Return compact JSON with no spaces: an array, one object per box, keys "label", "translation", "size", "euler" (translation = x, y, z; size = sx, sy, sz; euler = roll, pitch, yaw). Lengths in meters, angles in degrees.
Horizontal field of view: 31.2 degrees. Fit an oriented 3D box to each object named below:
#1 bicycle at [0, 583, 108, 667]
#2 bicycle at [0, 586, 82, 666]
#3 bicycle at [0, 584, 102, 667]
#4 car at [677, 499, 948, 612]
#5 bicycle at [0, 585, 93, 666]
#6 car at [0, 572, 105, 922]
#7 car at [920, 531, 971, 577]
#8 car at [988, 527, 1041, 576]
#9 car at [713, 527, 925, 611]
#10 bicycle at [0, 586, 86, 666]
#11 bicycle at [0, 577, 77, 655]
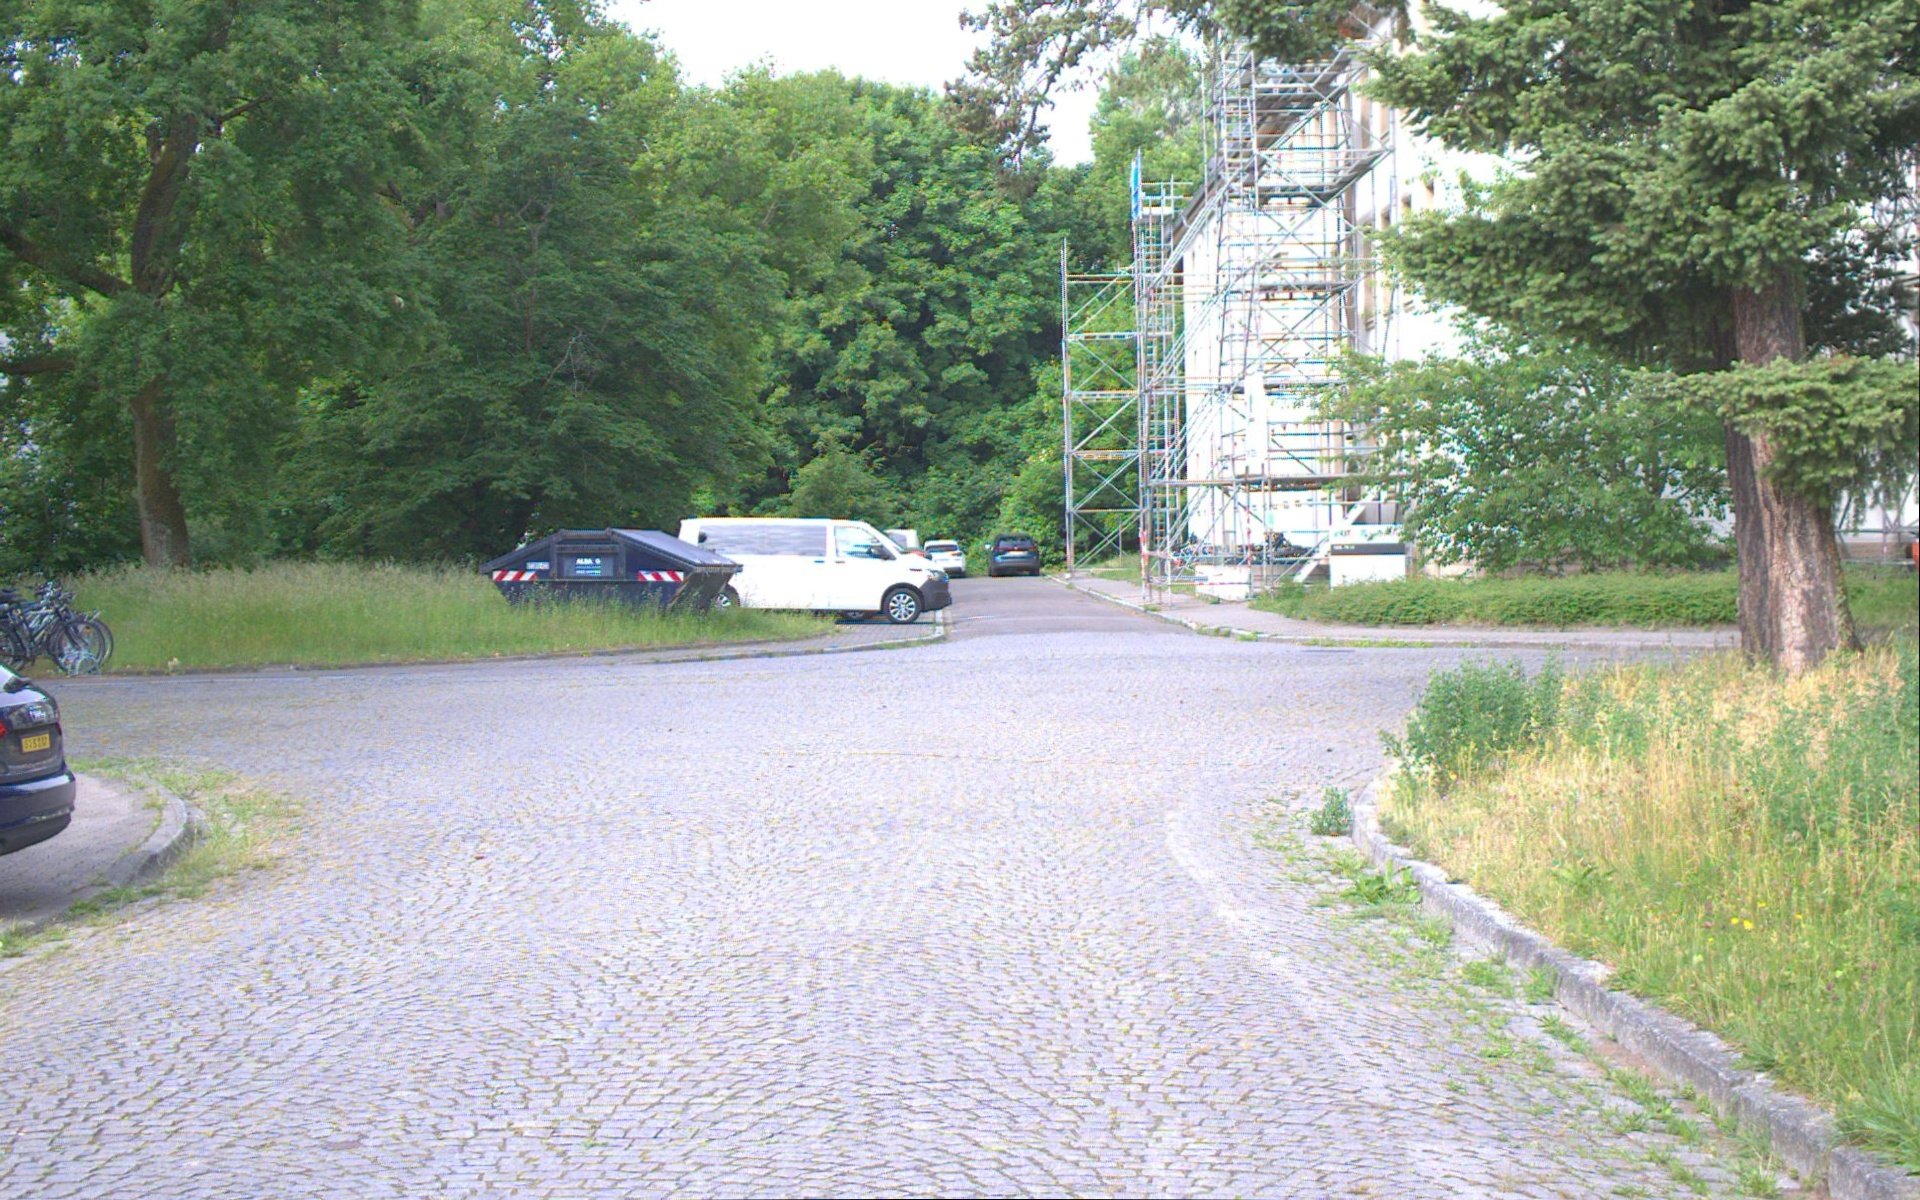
[{"label":"bicycle","translation":[-11.786,0.321,43.871],"size":[1.701,1.050,0.574],"euler":[-1,-1,-20]},{"label":"bicycle","translation":[-12.824,0.358,46.665],"size":[1.701,1.050,0.574],"euler":[-1,-1,-20]},{"label":"bicycle","translation":[-12.002,0.328,44.433],"size":[1.701,1.050,0.574],"euler":[-1,-1,-20]},{"label":"car","translation":[-2.739,-0.818,64.321],"size":[4.978,2.065,2.052],"euler":[0,0,-1]},{"label":"bicycle","translation":[-12.346,0.341,45.329],"size":[1.701,1.050,0.574],"euler":[-1,-1,-20]},{"label":"car","translation":[-6.080,0.632,15.361],"size":[4.072,1.462,1.625],"euler":[0,1,3]},{"label":"car","translation":[-0.556,-1.739,130.360],"size":[1.790,1.630,4.061],"euler":[-1,0,-2]},{"label":"car","translation":[2.065,-1.829,130.678],"size":[1.790,1.714,4.061],"euler":[-1,0,-2]},{"label":"car","translation":[-3.341,-0.722,81.738],"size":[4.978,1.961,2.052],"euler":[0,0,-1]},{"label":"bicycle","translation":[-12.619,0.350,46.055],"size":[1.701,1.050,0.574],"euler":[-1,-1,-20]},{"label":"bicycle","translation":[-13.119,0.225,47.521],"size":[1.701,1.050,0.574],"euler":[-1,-1,-20]}]
